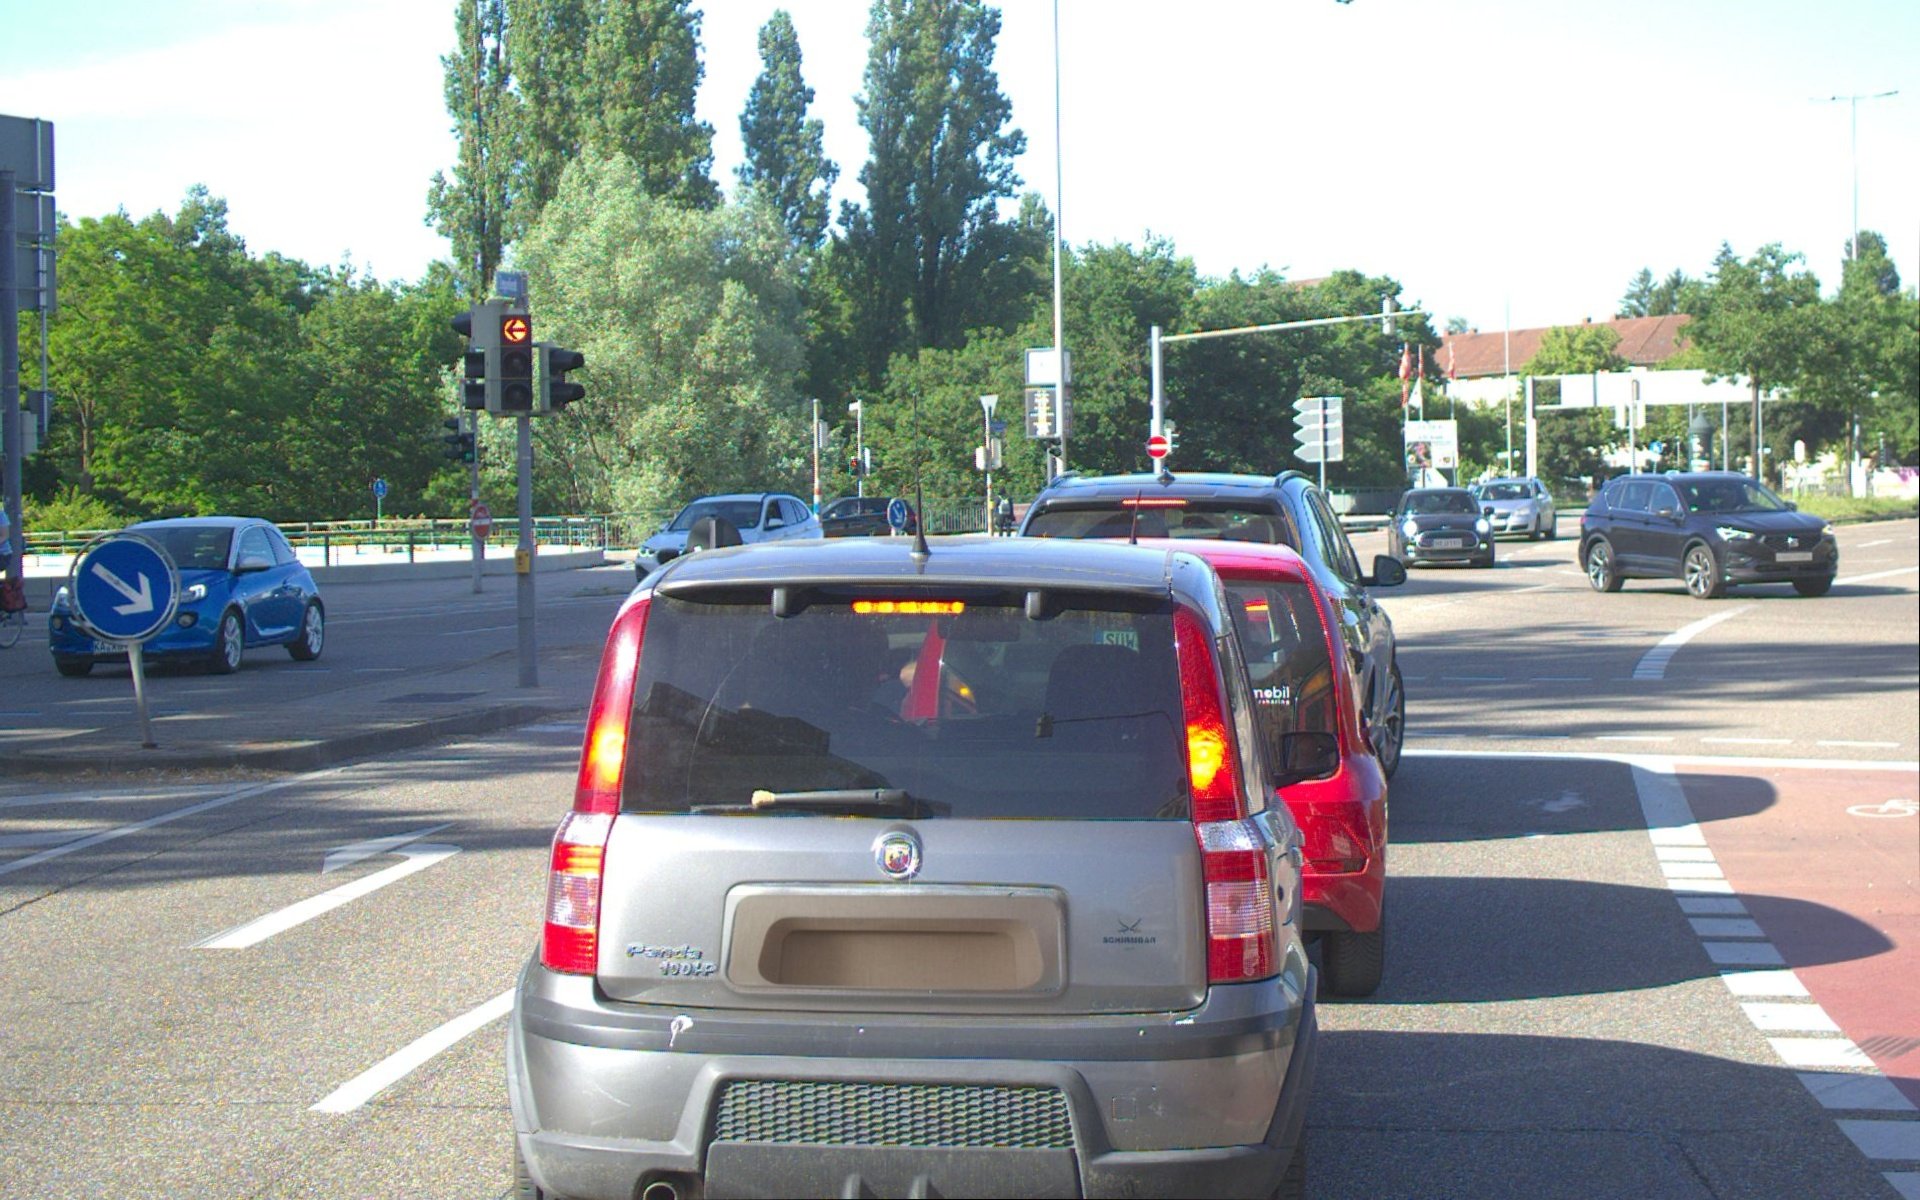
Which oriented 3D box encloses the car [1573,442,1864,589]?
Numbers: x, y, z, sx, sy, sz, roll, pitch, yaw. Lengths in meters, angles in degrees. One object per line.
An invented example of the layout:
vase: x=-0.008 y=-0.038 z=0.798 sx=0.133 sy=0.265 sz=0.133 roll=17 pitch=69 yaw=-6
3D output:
car: x=10.162 y=-1.090 z=46.420 sx=1.993 sy=1.829 sz=4.361 roll=0 pitch=-1 yaw=-16

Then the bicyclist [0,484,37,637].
bicyclist: x=-11.021 y=-0.434 z=38.598 sx=0.687 sy=1.695 sz=1.197 roll=-1 pitch=2 yaw=16

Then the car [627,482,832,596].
car: x=-3.486 y=-0.967 z=52.989 sx=1.835 sy=1.647 sz=4.626 roll=-1 pitch=1 yaw=13

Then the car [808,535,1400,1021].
car: x=0.615 y=0.511 z=12.597 sx=1.820 sy=1.474 sz=3.999 roll=0 pitch=1 yaw=5

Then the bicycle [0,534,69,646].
bicycle: x=-10.973 y=-0.100 z=38.741 sx=0.687 sy=1.198 sz=2.325 roll=-1 pitch=3 yaw=16

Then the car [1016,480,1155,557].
car: x=2.600 y=-1.640 z=70.273 sx=1.688 sy=1.452 sz=3.909 roll=-1 pitch=-1 yaw=20

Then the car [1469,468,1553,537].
car: x=12.739 y=-2.259 z=79.341 sx=1.752 sy=1.488 sz=4.347 roll=0 pitch=3 yaw=12

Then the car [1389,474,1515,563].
car: x=8.910 y=-1.443 z=62.034 sx=1.994 sy=1.448 sz=3.998 roll=0 pitch=-1 yaw=12

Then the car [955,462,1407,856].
car: x=1.288 y=0.194 z=18.026 sx=1.869 sy=1.784 sz=4.412 roll=1 pitch=2 yaw=10

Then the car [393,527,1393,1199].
car: x=0.017 y=0.602 z=8.322 sx=1.820 sy=1.484 sz=4.000 roll=2 pitch=2 yaw=4

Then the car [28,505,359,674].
car: x=-7.437 y=-0.157 z=33.822 sx=1.820 sy=1.498 sz=4.450 roll=-1 pitch=2 yaw=6
